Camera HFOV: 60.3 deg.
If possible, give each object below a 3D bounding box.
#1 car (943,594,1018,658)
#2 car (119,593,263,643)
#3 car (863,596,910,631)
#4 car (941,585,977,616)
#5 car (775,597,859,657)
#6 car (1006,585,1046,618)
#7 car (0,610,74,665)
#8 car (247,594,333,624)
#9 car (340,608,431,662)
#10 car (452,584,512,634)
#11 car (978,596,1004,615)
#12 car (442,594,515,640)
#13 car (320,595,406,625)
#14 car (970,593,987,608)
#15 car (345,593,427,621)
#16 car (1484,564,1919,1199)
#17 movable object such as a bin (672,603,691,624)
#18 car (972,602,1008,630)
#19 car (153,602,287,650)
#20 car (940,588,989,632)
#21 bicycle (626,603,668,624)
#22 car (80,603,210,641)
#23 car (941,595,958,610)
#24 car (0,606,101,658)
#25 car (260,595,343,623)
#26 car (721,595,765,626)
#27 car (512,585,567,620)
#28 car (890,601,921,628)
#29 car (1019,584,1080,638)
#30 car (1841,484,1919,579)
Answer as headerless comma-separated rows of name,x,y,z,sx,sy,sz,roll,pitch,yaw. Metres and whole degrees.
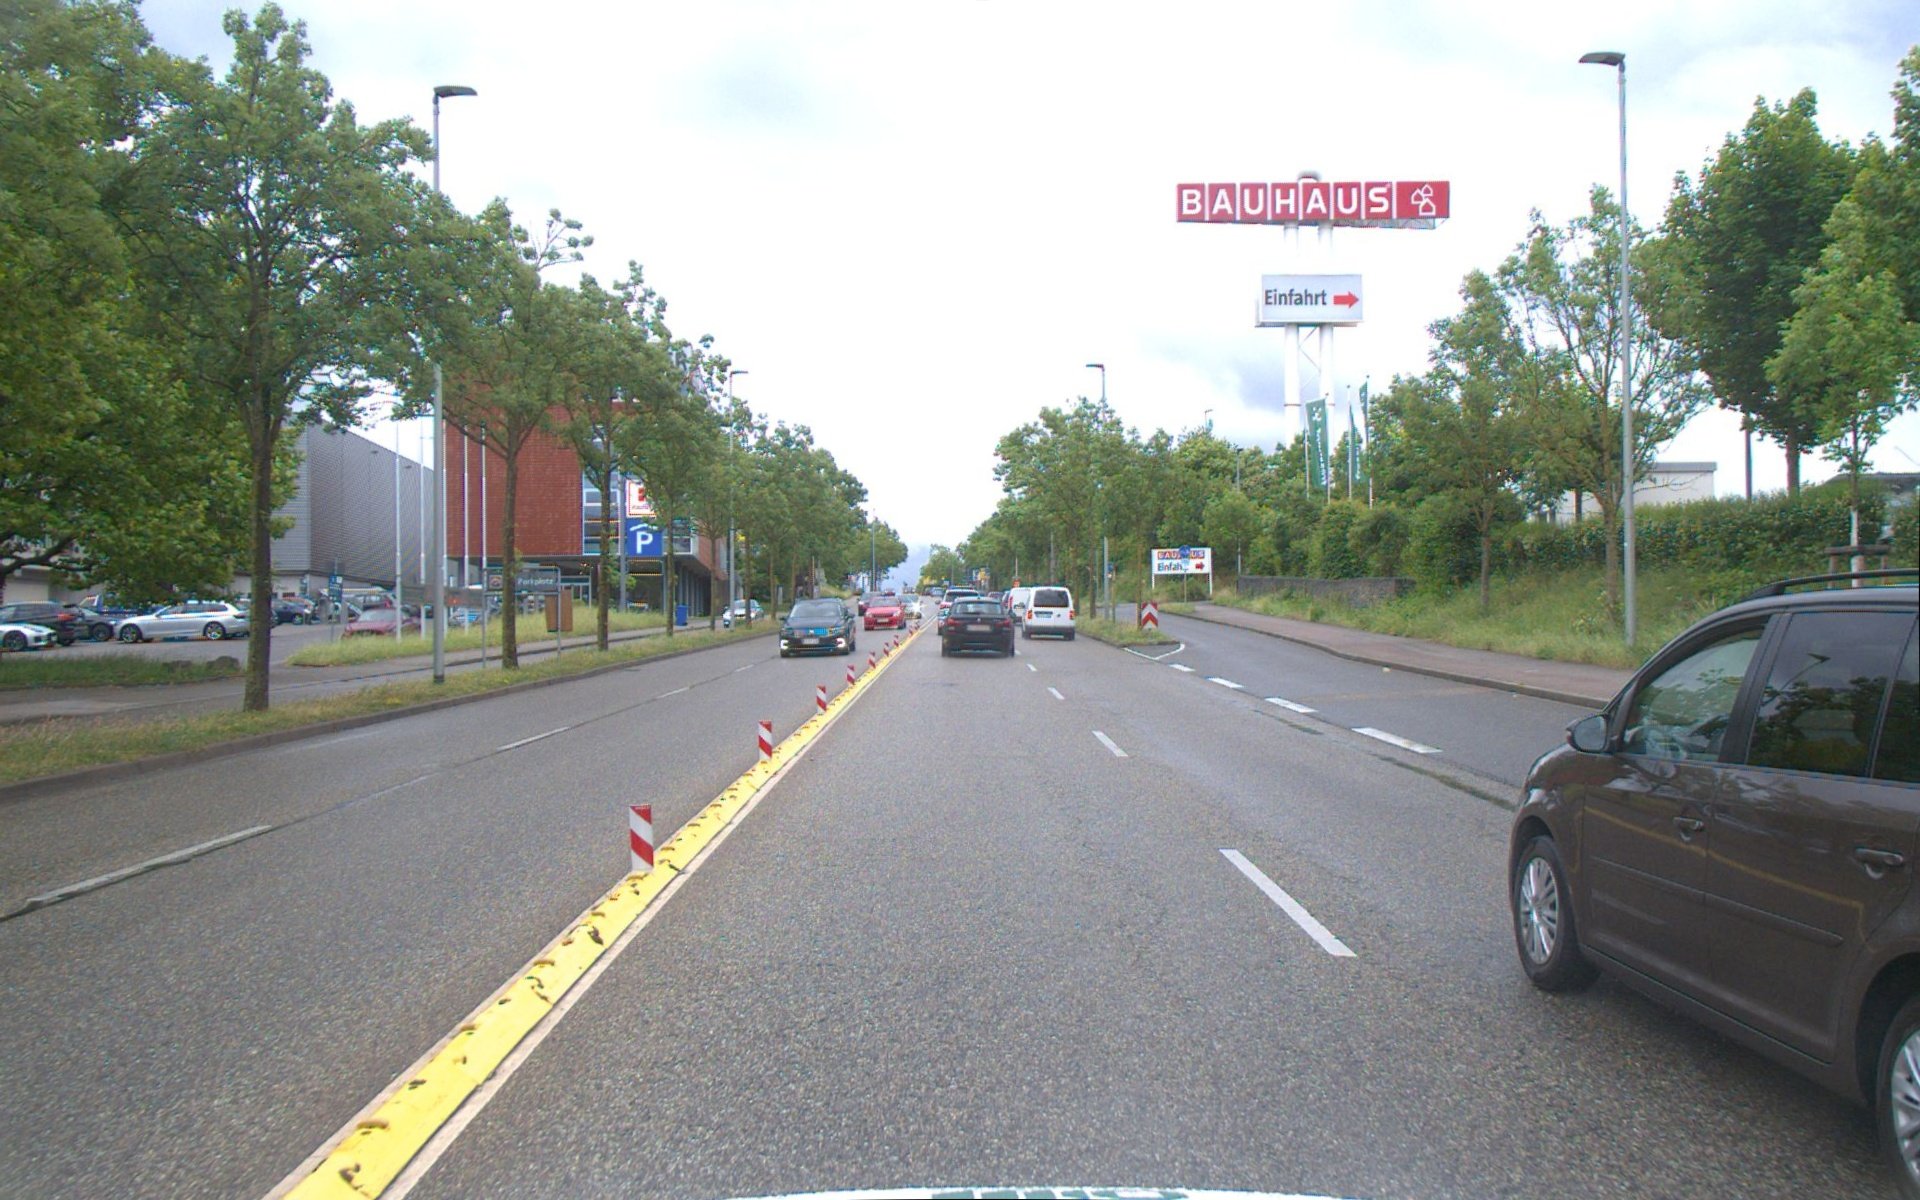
car,0.520,0.622,42.080,1.789,1.494,4.000,-1,0,1
car,-28.798,0.653,62.073,4.513,1.776,1.963,0,1,-9
car,-3.214,0.567,72.667,1.725,1.450,4.181,-1,0,1
car,-0.081,0.034,86.169,1.758,1.537,3.999,1,-1,-1
car,-3.778,0.691,44.361,1.789,1.491,4.616,-1,0,0
car,3.222,0.092,81.333,1.757,1.537,3.999,1,-1,0
car,-33.039,1.260,56.437,4.517,1.776,1.962,0,1,-12
car,-36.784,0.493,90.839,4.032,1.536,1.816,0,1,-9
car,-19.941,1.188,57.589,1.895,1.637,4.707,1,1,-5
car,-22.387,0.394,77.632,2.075,2.132,5.112,0,1,-9
car,2.535,0.477,135.659,1.758,1.537,3.997,1,-1,-3
car,-20.895,0.720,71.982,1.999,1.792,4.943,1,1,-3
car,-32.220,0.523,89.341,4.032,1.536,1.816,0,1,-9
car,2.037,0.092,181.840,1.758,1.537,3.998,1,-1,-2
car,-32.531,0.398,93.881,4.113,1.536,1.816,0,1,-9
car,3.213,0.746,5.263,1.651,1.609,4.217,2,0,-1
movable object such as a bin,-15.468,0.754,91.810,0.802,1.098,1.086,4,0,0
car,1.740,0.898,95.697,1.758,1.537,3.997,1,-1,-3
car,-28.981,1.011,64.918,4.415,1.776,1.897,0,1,-9
car,0.154,0.383,62.237,1.757,1.537,3.999,1,-1,0
bicycle,-17.199,0.743,90.928,2.033,0.952,1.094,4,0,4
car,-34.649,0.929,70.404,4.524,1.536,2.021,0,1,-9
car,-1.154,0.281,183.502,1.758,1.537,3.998,1,-1,-2
car,-33.615,1.127,59.317,4.517,1.776,2.128,0,1,-12
car,-37.192,0.507,93.496,4.032,1.536,1.816,0,1,-9
car,-12.038,0.546,91.904,1.829,1.580,4.575,-3,0,-1
car,-23.537,0.109,92.719,2.095,1.804,4.606,1,1,-3
car,-3.224,0.826,98.532,1.633,1.434,4.378,-3,0,0
car,3.096,0.352,57.709,1.790,1.790,3.999,1,0,-1
car,19.186,-1.382,31.056,4.264,1.657,1.926,-4,0,-6
